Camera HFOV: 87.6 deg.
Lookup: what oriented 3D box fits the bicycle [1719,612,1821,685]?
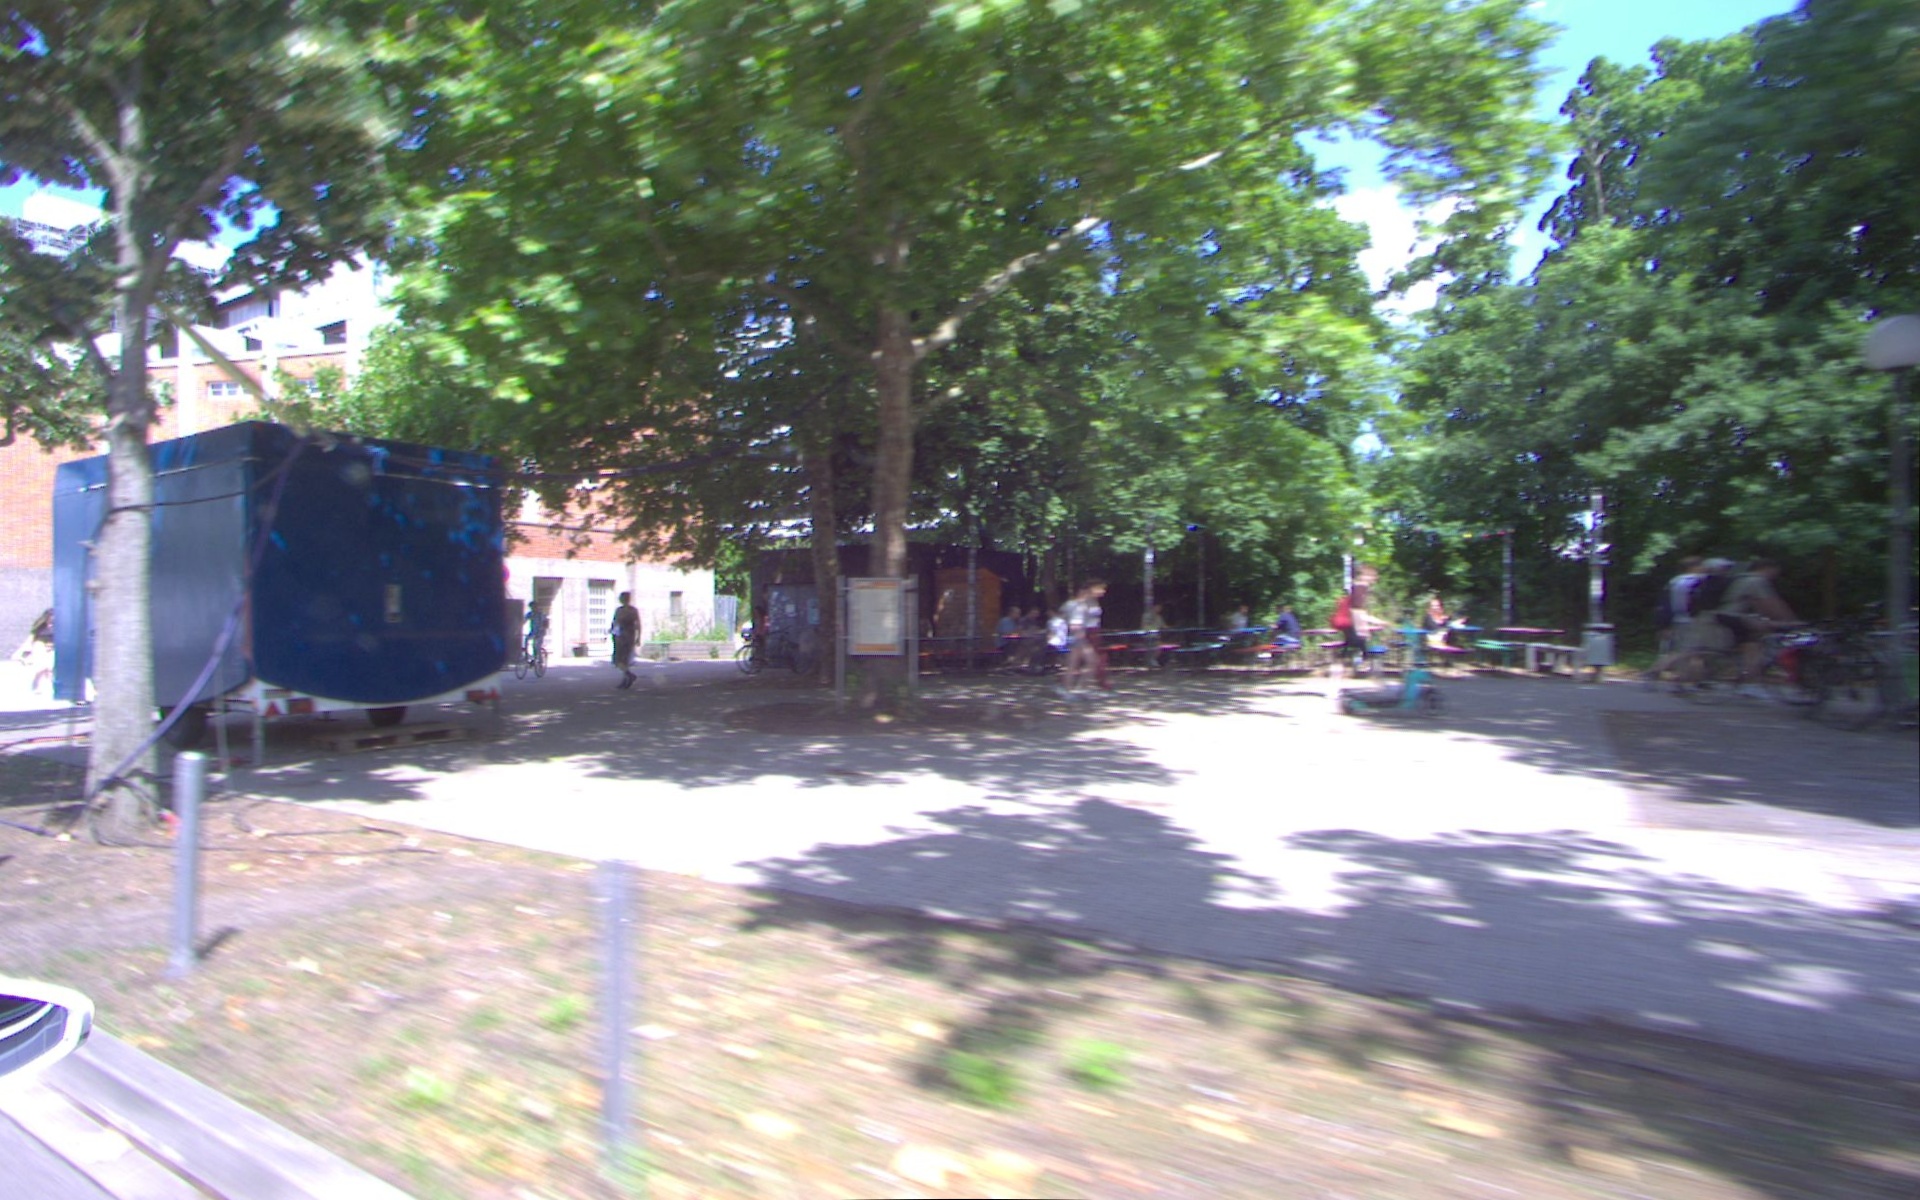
[{"bbox_3d":[12.802,0.737,15.895,0.427,1.053,1.958,0,0,13],"label":"bicycle"}]

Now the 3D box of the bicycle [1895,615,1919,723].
[{"bbox_3d":[10.486,0.748,10.222,0.469,1.158,1.902,0,0,13],"label":"bicycle"}]

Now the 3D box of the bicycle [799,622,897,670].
[{"bbox_3d":[-2.655,1.101,23.954,0.775,1.085,2.383,-1,-2,44],"label":"bicycle"}]

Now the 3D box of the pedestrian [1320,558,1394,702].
[{"bbox_3d":[5.396,0.394,13.600,0.812,1.879,0.763,0,1,32],"label":"pedestrian"}]

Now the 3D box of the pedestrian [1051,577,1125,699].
[{"bbox_3d":[1.844,0.534,14.399,0.812,1.683,0.763,0,1,32],"label":"pedestrian"}]

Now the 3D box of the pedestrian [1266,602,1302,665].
[{"bbox_3d":[6.879,0.700,21.249,0.612,1.289,0.665,1,3,27],"label":"pedestrian"}]

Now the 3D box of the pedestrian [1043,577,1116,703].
[{"bbox_3d":[1.657,0.537,13.863,0.777,1.683,0.696,0,1,32],"label":"pedestrian"}]

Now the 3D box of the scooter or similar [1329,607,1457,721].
[{"bbox_3d":[4.915,0.705,11.387,1.276,1.235,0.423,-1,0,33],"label":"scooter or similar"}]

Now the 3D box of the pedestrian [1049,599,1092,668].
[{"bbox_3d":[2.283,0.675,20.684,0.718,1.365,0.568,1,3,28],"label":"pedestrian"}]

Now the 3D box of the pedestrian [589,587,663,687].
[{"bbox_3d":[-6.205,0.668,18.642,0.904,1.799,0.958,1,1,24],"label":"pedestrian"}]

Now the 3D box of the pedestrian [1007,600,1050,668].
[{"bbox_3d":[1.417,0.686,20.722,0.718,1.365,0.568,1,3,28],"label":"pedestrian"}]

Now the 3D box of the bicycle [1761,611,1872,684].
[{"bbox_3d":[13.528,0.719,15.874,0.469,1.053,1.958,0,0,13],"label":"bicycle"}]

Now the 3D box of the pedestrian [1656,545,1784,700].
[{"bbox_3d":[9.992,0.285,13.205,1.058,1.975,0.834,0,2,12],"label":"pedestrian"}]

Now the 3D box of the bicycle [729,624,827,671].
[{"bbox_3d":[-4.497,1.161,24.866,0.775,1.085,2.382,-1,-1,45],"label":"bicycle"}]

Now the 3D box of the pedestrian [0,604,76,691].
[{"bbox_3d":[-18.345,0.922,19.924,0.935,1.660,0.873,1,2,32],"label":"pedestrian"}]

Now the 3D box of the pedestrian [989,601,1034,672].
[{"bbox_3d":[1.040,0.719,20.004,0.718,1.365,0.568,1,3,28],"label":"pedestrian"}]

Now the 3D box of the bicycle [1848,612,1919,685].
[{"bbox_3d":[14.621,0.726,15.489,0.469,1.053,1.783,-1,0,11],"label":"bicycle"}]

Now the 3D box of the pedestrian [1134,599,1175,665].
[{"bbox_3d":[4.178,0.672,21.547,0.708,1.365,0.665,1,3,28],"label":"pedestrian"}]

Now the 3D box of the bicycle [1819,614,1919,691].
[{"bbox_3d":[13.732,0.757,15.033,0.426,1.053,1.783,-1,0,11],"label":"bicycle"}]

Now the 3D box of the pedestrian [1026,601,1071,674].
[{"bbox_3d":[1.745,0.721,19.659,0.718,1.365,0.568,1,3,28],"label":"pedestrian"}]

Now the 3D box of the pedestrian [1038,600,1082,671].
[{"bbox_3d":[2.025,0.698,20.166,0.718,1.365,0.568,1,3,28],"label":"pedestrian"}]

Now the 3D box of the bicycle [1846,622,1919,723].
[{"bbox_3d":[10.042,0.750,10.337,0.469,0.992,1.902,0,0,13],"label":"bicycle"}]

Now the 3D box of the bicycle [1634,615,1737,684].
[{"bbox_3d":[11.486,0.756,15.930,0.601,0.992,1.958,-1,0,13],"label":"bicycle"}]

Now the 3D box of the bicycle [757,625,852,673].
[{"bbox_3d":[-3.755,1.171,24.340,0.773,1.085,2.387,-1,-1,39],"label":"bicycle"}]

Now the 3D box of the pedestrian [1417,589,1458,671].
[{"bbox_3d":[9.690,0.591,20.311,0.707,1.604,0.665,1,3,28],"label":"pedestrian"}]

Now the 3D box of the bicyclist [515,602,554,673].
[{"bbox_3d":[-9.911,0.879,23.335,0.609,1.628,0.658,0,0,4],"label":"bicyclist"}]

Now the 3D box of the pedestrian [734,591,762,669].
[{"bbox_3d":[-5.293,0.744,25.040,0.523,1.907,0.445,0,0,42],"label":"pedestrian"}]

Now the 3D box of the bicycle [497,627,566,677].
[{"bbox_3d":[-9.926,1.182,23.275,0.609,1.094,2.027,0,-1,4],"label":"bicycle"}]

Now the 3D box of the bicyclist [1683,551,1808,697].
[{"bbox_3d":[9.675,0.286,12.360,1.058,1.753,0.531,0,2,12],"label":"bicyclist"}]

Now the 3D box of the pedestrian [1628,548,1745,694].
[{"bbox_3d":[10.175,0.280,14.075,1.058,1.975,0.834,0,2,12],"label":"pedestrian"}]

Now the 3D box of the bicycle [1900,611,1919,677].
[{"bbox_3d":[15.487,0.712,15.481,0.469,1.053,1.831,-1,0,11],"label":"bicycle"}]

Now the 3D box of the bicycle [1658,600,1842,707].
[{"bbox_3d":[9.715,0.649,12.362,1.705,1.269,0.531,0,2,12],"label":"bicycle"}]

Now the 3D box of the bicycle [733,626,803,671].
[{"bbox_3d":[-5.161,1.280,26.931,1.997,1.155,0.572,0,-1,32],"label":"bicycle"}]

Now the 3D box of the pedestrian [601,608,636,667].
[{"bbox_3d":[-9.686,1.058,28.398,0.669,1.628,0.657,0,1,17],"label":"pedestrian"}]

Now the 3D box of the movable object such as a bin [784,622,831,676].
[{"bbox_3d":[-3.150,1.008,20.725,0.732,1.085,0.598,-2,-1,33],"label":"movable object such as a bin"}]

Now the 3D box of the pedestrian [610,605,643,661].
[{"bbox_3d":[-9.763,0.957,29.331,0.669,1.628,0.657,0,1,17],"label":"pedestrian"}]

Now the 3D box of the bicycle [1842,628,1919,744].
[{"bbox_3d":[9.127,0.793,9.573,0.470,0.992,1.898,0,1,24],"label":"bicycle"}]

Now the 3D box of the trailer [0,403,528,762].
[{"bbox_3d":[-8.064,-0.131,11.370,6.165,3.092,2.687,0,1,31],"label":"trailer"}]

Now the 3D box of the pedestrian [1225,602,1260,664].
[{"bbox_3d":[6.075,0.701,21.547,0.612,1.289,0.665,1,3,27],"label":"pedestrian"}]

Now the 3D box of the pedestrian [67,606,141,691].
[{"bbox_3d":[-17.682,0.976,20.689,0.934,1.660,0.874,2,3,30],"label":"pedestrian"}]

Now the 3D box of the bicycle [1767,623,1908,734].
[{"bbox_3d":[9.050,0.763,10.408,0.470,0.992,1.899,0,0,21],"label":"bicycle"}]

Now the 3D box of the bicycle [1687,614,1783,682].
[{"bbox_3d":[12.407,0.735,16.098,0.430,0.992,1.958,0,0,13],"label":"bicycle"}]
